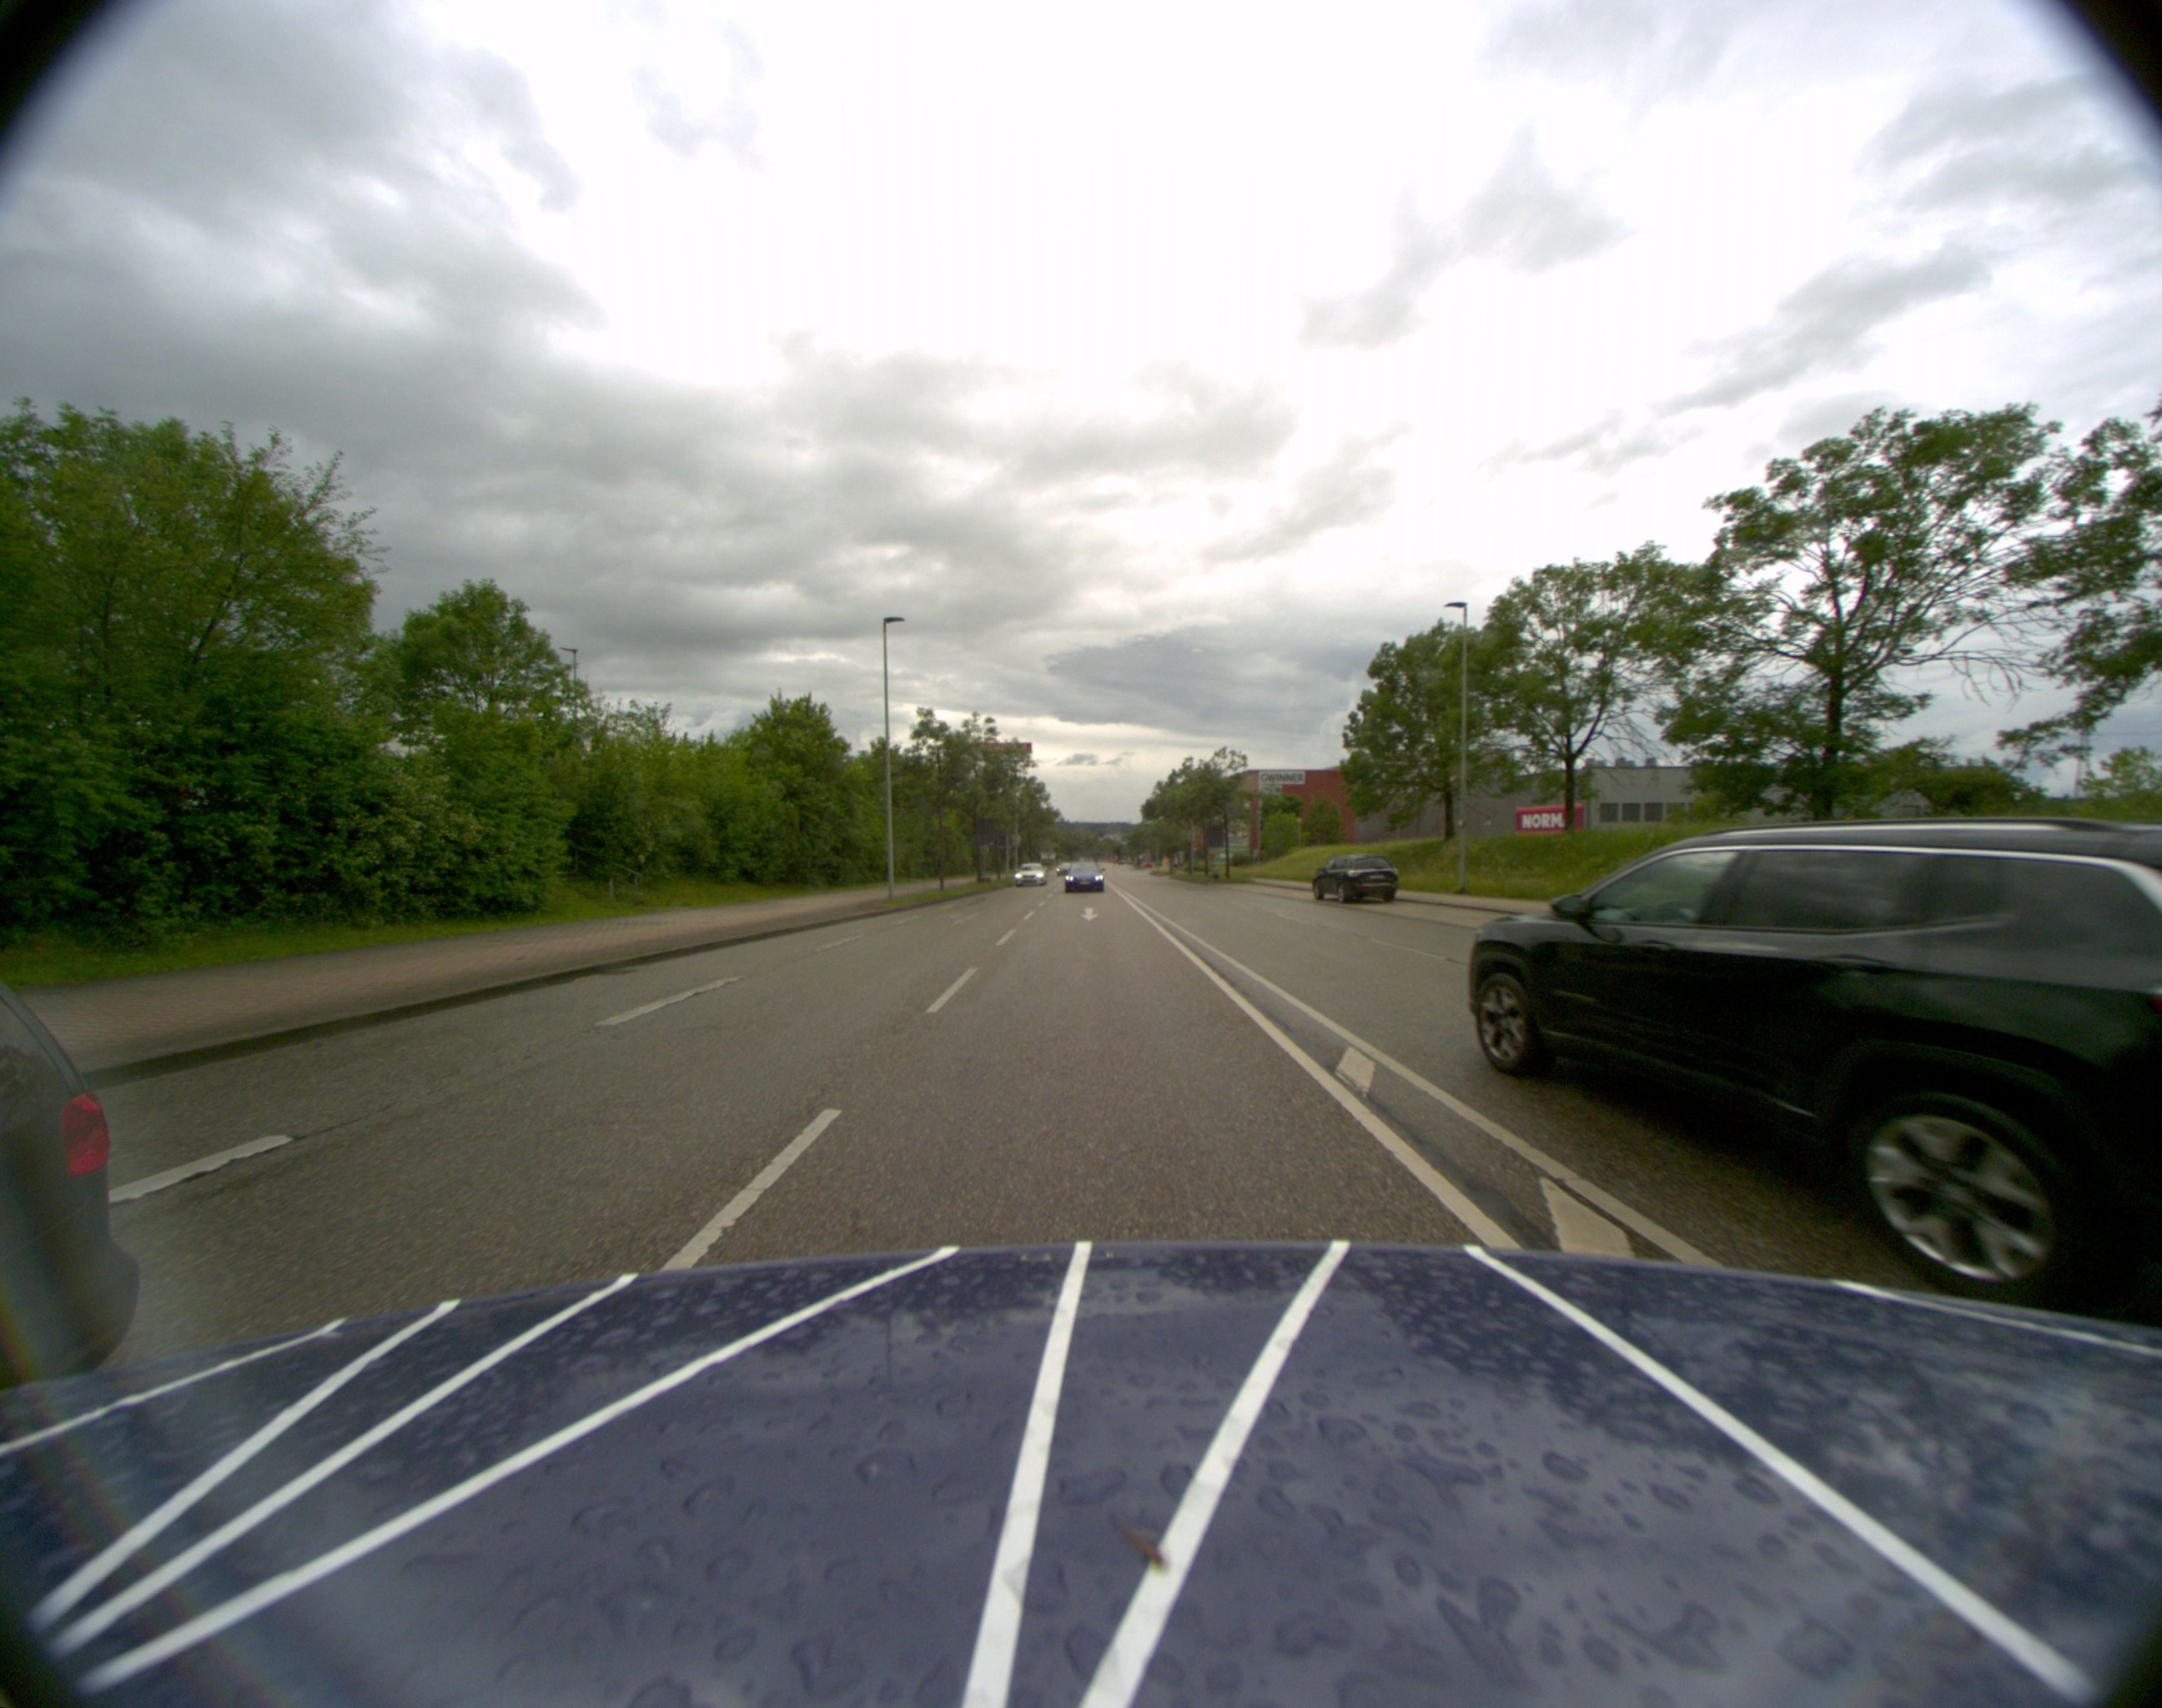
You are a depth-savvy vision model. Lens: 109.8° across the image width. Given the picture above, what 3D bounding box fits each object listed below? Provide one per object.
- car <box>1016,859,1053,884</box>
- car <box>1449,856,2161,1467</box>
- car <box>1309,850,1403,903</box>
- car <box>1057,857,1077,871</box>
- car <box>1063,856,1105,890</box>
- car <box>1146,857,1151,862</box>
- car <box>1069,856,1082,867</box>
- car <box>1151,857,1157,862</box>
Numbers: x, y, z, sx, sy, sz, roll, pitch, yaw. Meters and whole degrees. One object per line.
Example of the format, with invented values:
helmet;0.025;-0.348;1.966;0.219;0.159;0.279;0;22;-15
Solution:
car;-3.008;1.115;49.976;1.863;1.473;4.001;-1;0;5
car;3.672;0.805;3.569;1.800;1.574;4.198;0;0;-1
car;9.728;0.750;27.223;1.730;1.658;4.488;-2;0;1
car;-1.732;1.226;94.002;2.113;1.610;4.841;-1;0;3
car;0.203;0.885;37.462;1.827;1.473;4.841;-1;0;3
car;21.876;1.727;245.687;1.679;1.497;4.218;1;0;5
car;-0.877;1.169;120.651;1.853;1.565;3.999;-2;1;0
car;21.200;1.648;220.513;1.740;1.445;4.002;1;0;6
